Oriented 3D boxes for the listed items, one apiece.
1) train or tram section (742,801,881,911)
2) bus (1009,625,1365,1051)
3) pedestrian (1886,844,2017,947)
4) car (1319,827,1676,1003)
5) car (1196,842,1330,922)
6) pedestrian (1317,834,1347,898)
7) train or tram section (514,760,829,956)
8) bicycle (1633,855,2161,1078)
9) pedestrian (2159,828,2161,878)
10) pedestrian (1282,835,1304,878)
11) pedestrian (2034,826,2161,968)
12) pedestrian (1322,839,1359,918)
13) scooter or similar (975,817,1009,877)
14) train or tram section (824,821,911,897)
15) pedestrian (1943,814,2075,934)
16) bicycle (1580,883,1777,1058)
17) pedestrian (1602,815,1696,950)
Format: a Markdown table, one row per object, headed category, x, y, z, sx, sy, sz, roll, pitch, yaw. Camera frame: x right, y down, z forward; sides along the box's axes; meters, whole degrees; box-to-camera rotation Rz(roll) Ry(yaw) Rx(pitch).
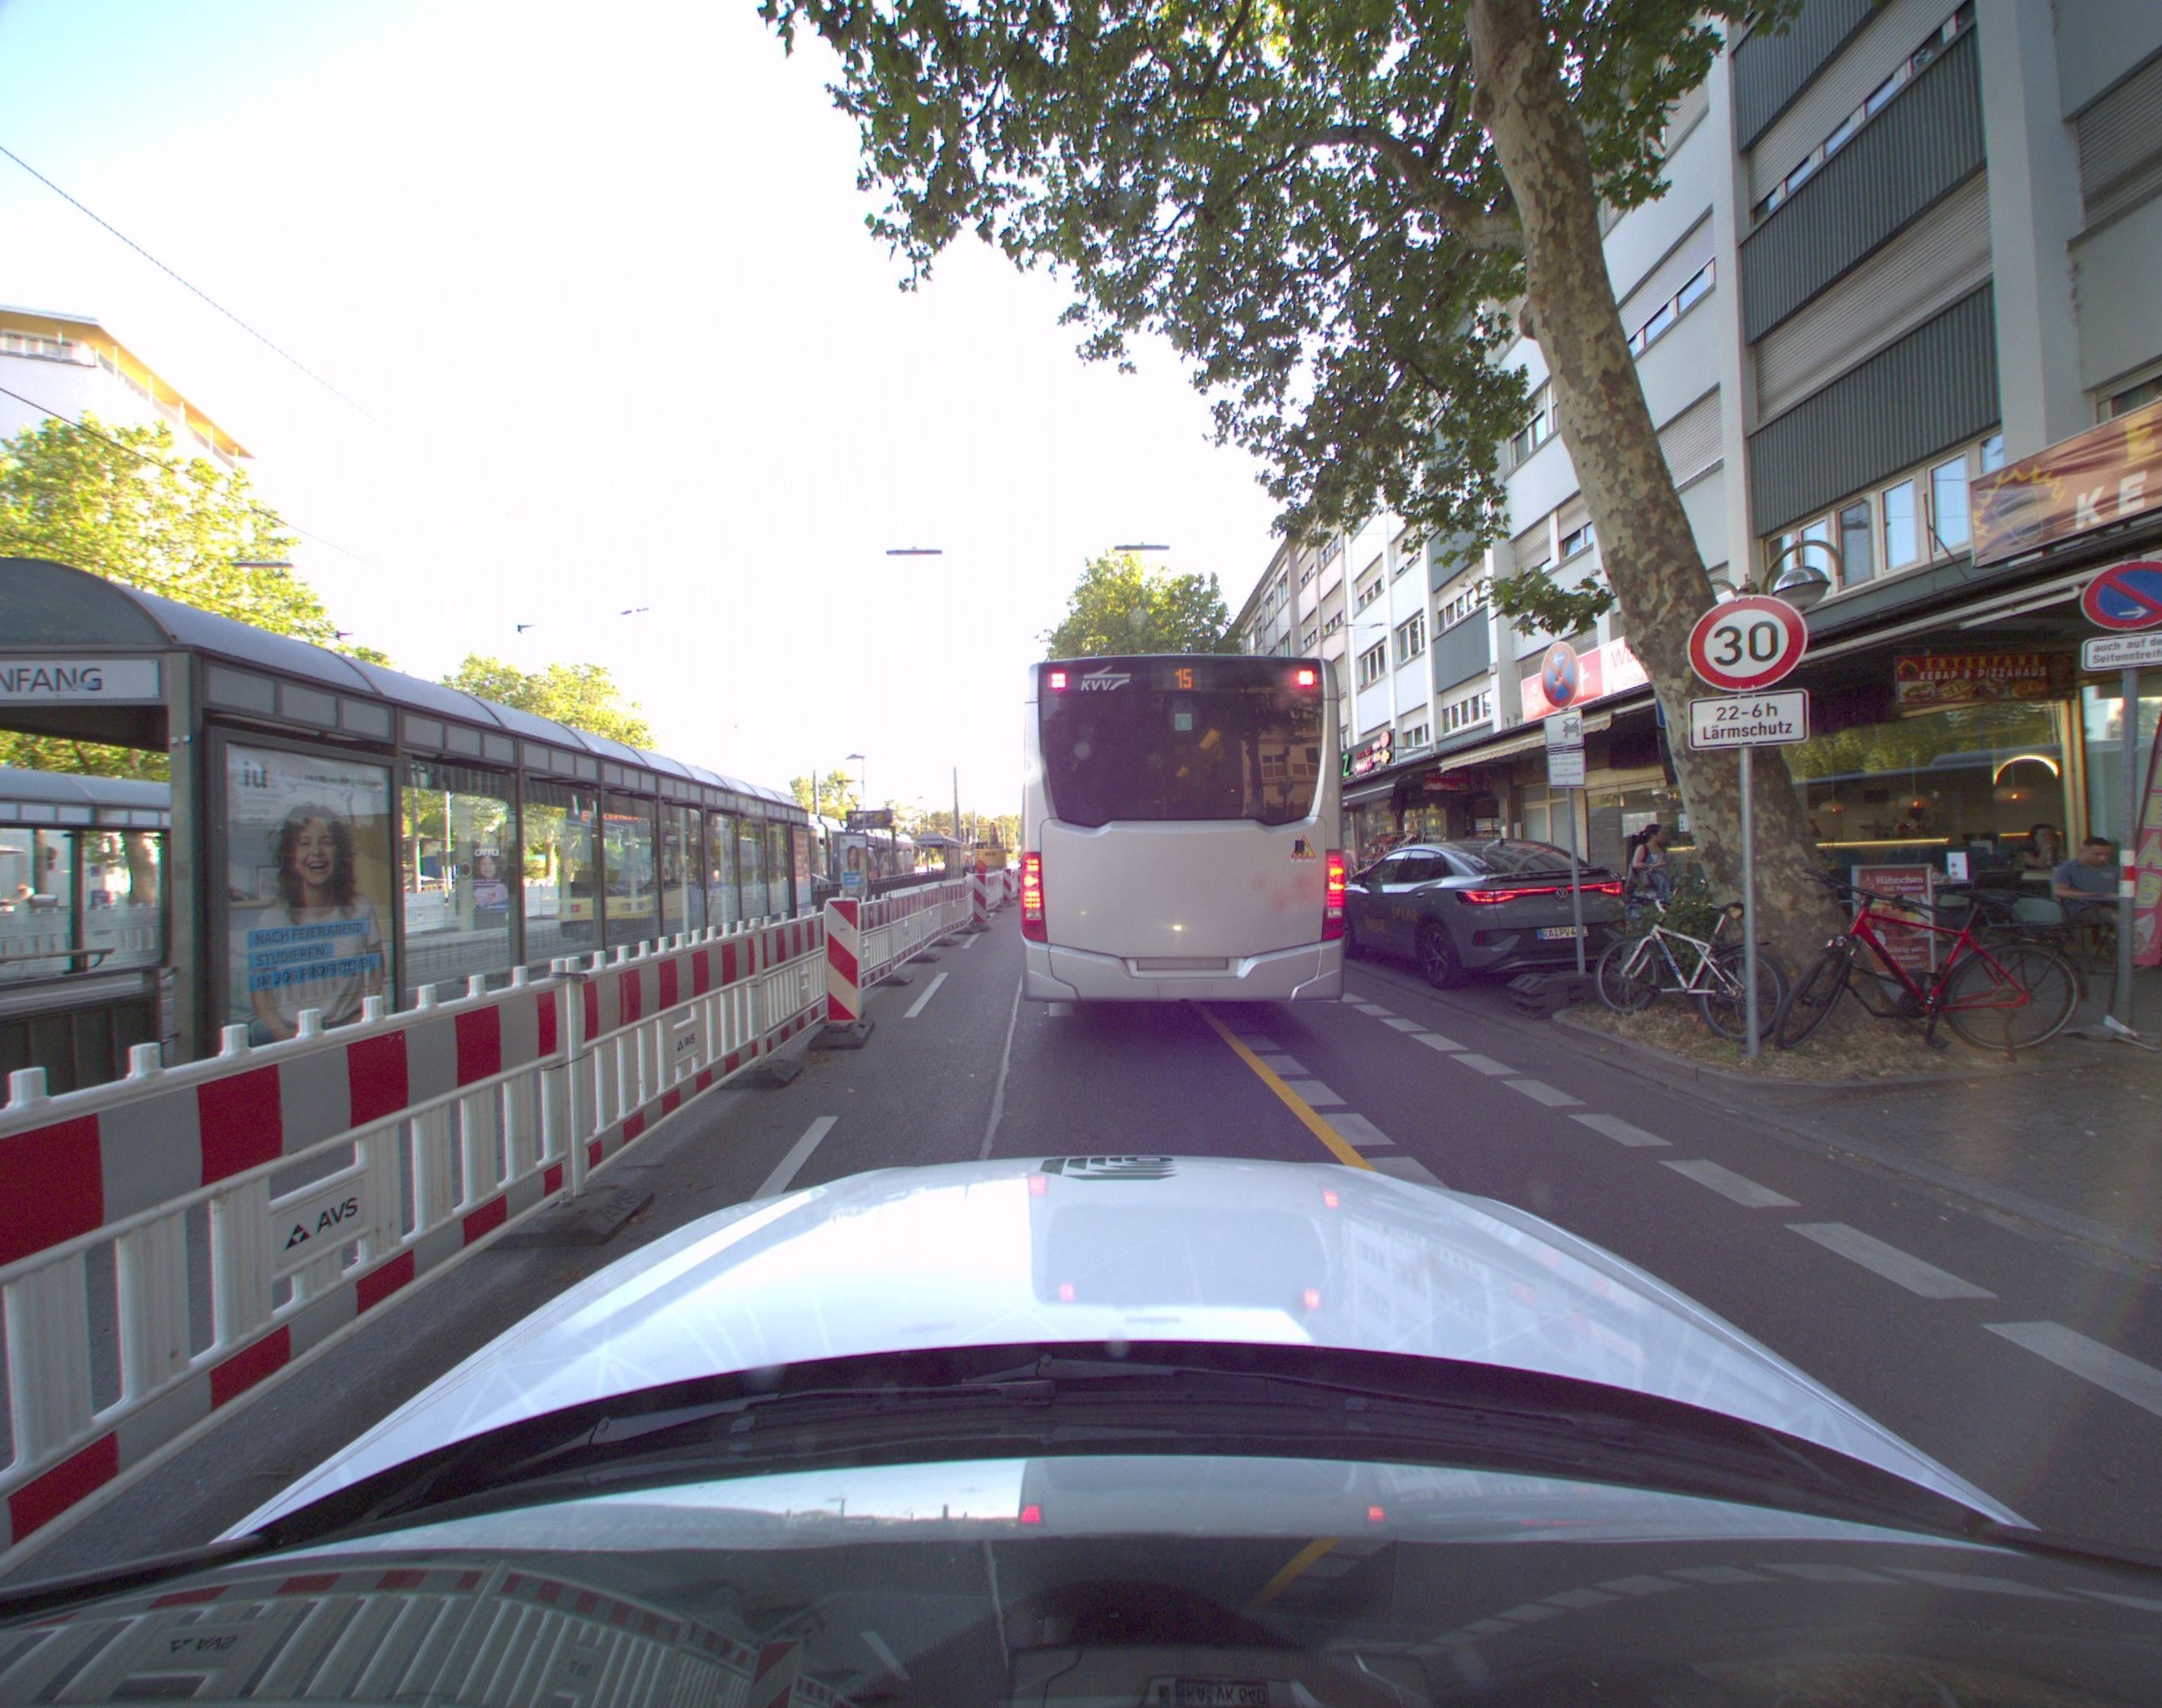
| category | x | y | z | sx | sy | sz | roll | pitch | yaw |
| --- | --- | --- | --- | --- | --- | --- | --- | --- | --- |
| train or tram section | -10.156 | 0.116 | 32.214 | 2.682 | 3.558 | 11.559 | 0 | -1 | -5 |
| bus | 0.899 | -0.092 | 9.988 | 2.601 | 3.126 | 7.996 | 0 | 0 | 2 |
| pedestrian | 9.853 | 0.449 | 9.228 | 0.643 | 1.081 | 0.945 | -2 | -1 | -39 |
| car | 4.733 | 0.585 | 10.163 | 1.989 | 1.582 | 4.364 | -4 | 0 | -3 |
| car | 4.239 | 0.595 | 19.718 | 1.989 | 1.582 | 4.364 | -4 | 0 | -3 |
| pedestrian | 8.108 | 0.391 | 26.349 | 0.683 | 2.014 | 0.786 | -2 | -1 | 1 |
| train or tram section | -9.255 | 0.109 | 20.704 | 2.681 | 3.534 | 11.756 | 0 | -1 | -3 |
| bicycle | 5.054 | 0.719 | 5.214 | 2.370 | 1.155 | 0.557 | -7 | -2 | 14 |
| pedestrian | 9.526 | 0.388 | 6.616 | 0.556 | 1.245 | 0.691 | -4 | 0 | 3 |
| pedestrian | 9.400 | 0.118 | 36.090 | 0.684 | 1.836 | 0.785 | -2 | -1 | -1 |
| pedestrian | 9.616 | 0.380 | 7.613 | 0.555 | 1.245 | 0.692 | -4 | 0 | 8 |
| pedestrian | 5.696 | 0.530 | 17.865 | 0.658 | 1.666 | 0.603 | -4 | -1 | 18 |
| scooter or similar | -7.041 | -0.530 | 65.141 | 2.465 | 4.471 | 5.961 | -2 | 0 | -5 |
| train or tram section | -11.153 | 0.288 | 43.731 | 2.683 | 3.533 | 11.558 | 0 | -1 | -6 |
| pedestrian | 10.992 | 0.226 | 9.653 | 0.836 | 1.333 | 0.963 | -2 | -1 | -39 |
| bicycle | 4.570 | 0.833 | 6.355 | 0.550 | 1.155 | 1.446 | -2 | -1 | 6 |
| pedestrian | 7.227 | 0.350 | 10.397 | 0.580 | 1.646 | 0.796 | -2 | 0 | 0 |
